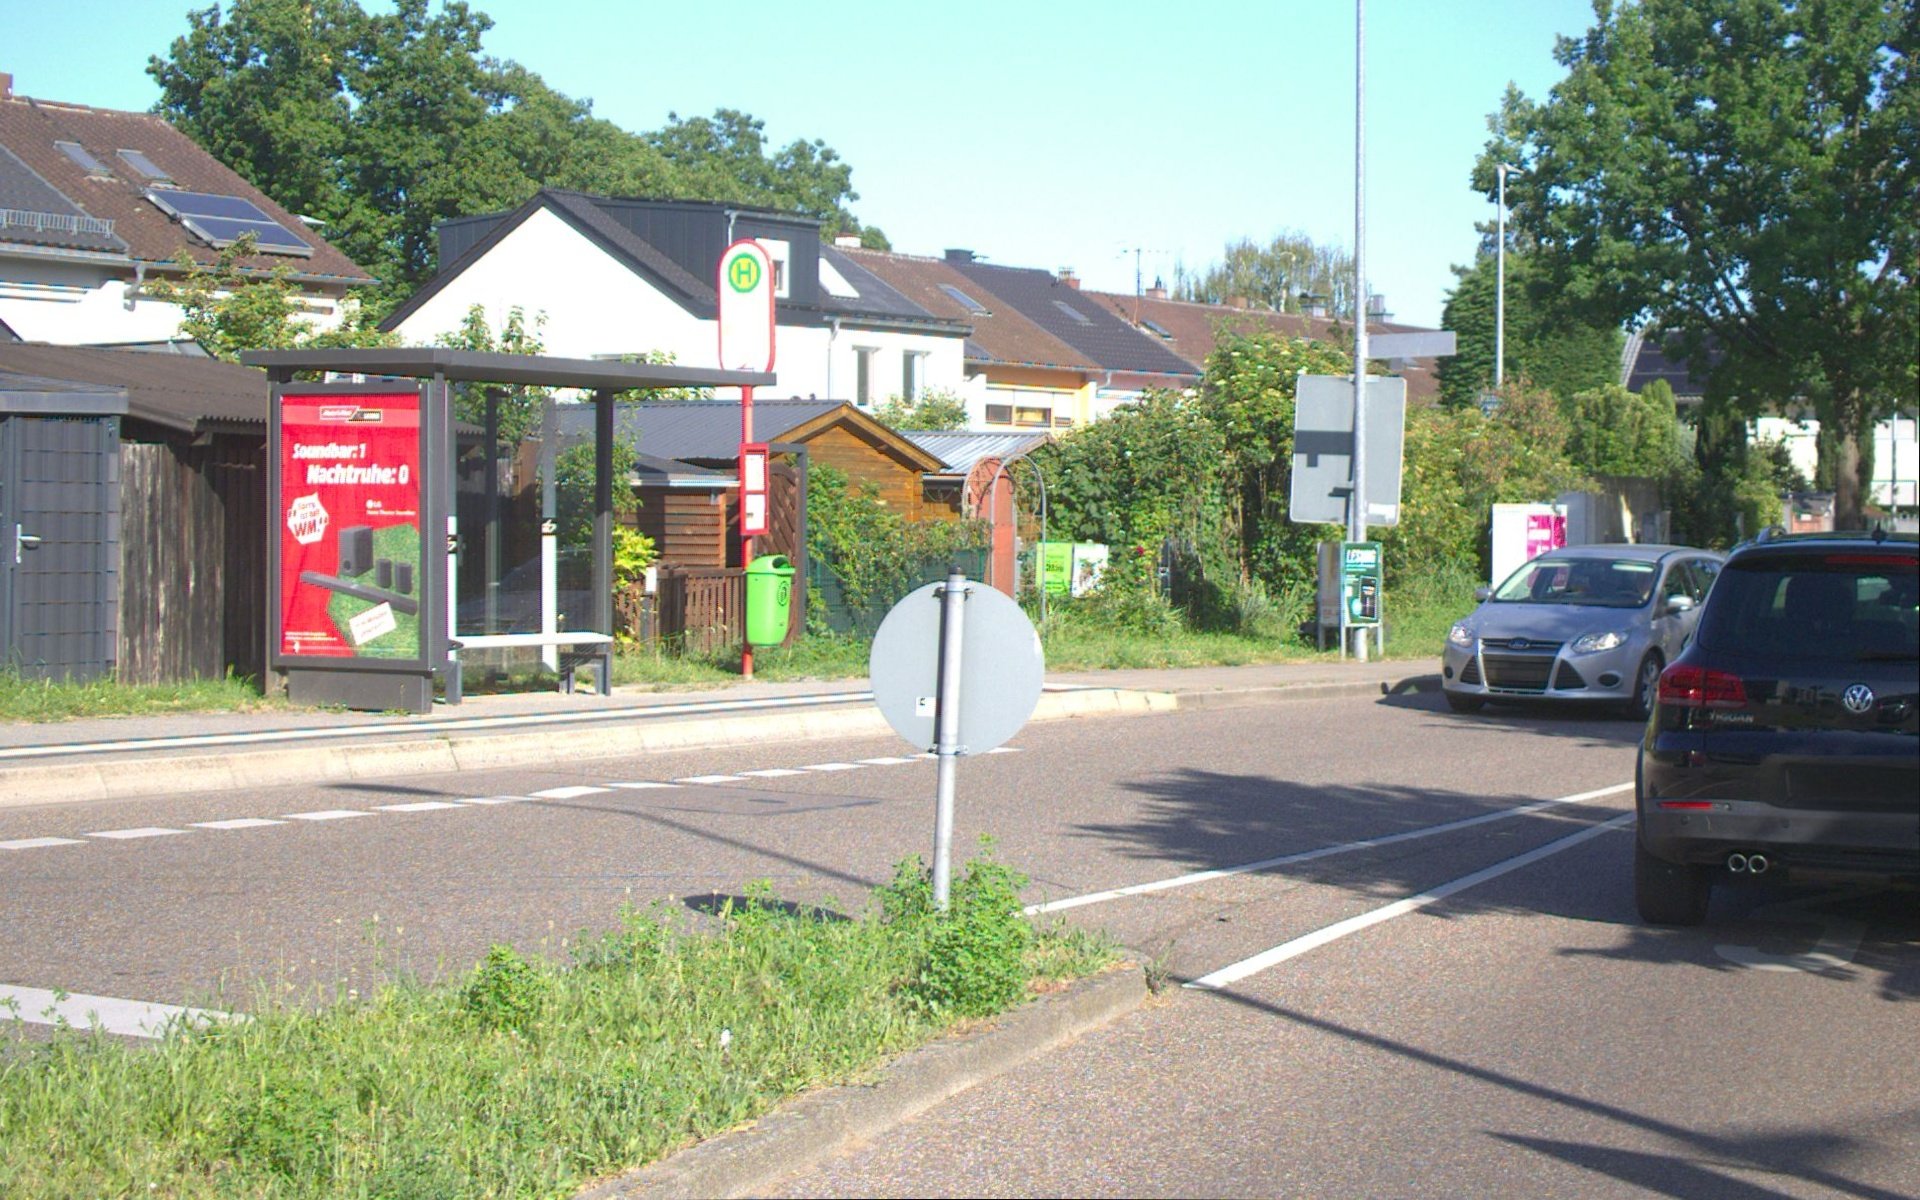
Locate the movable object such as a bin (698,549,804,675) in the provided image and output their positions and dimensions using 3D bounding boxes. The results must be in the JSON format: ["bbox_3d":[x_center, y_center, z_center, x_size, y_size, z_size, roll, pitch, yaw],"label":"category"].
[{"bbox_3d":[-1.701,0.093,27.957,0.593,0.964,0.557,6,4,28],"label":"movable object such as a bin"}]

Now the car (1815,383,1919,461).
[{"bbox_3d":[18.877,-3.512,67.986,3.553,1.472,1.806,1,1,23],"label":"car"}]

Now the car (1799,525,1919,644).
[{"bbox_3d":[12.468,-0.228,45.230,1.996,1.438,4.445,3,2,24],"label":"car"}]

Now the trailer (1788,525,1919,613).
[{"bbox_3d":[17.544,-0.604,66.192,2.970,1.650,1.395,1,1,20],"label":"trailer"}]

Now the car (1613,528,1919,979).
[{"bbox_3d":[4.163,0.545,15.088,1.931,1.648,4.510,3,2,18],"label":"car"}]

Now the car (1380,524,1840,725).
[{"bbox_3d":[5.801,0.174,30.269,2.214,1.585,4.525,2,1,36],"label":"car"}]
